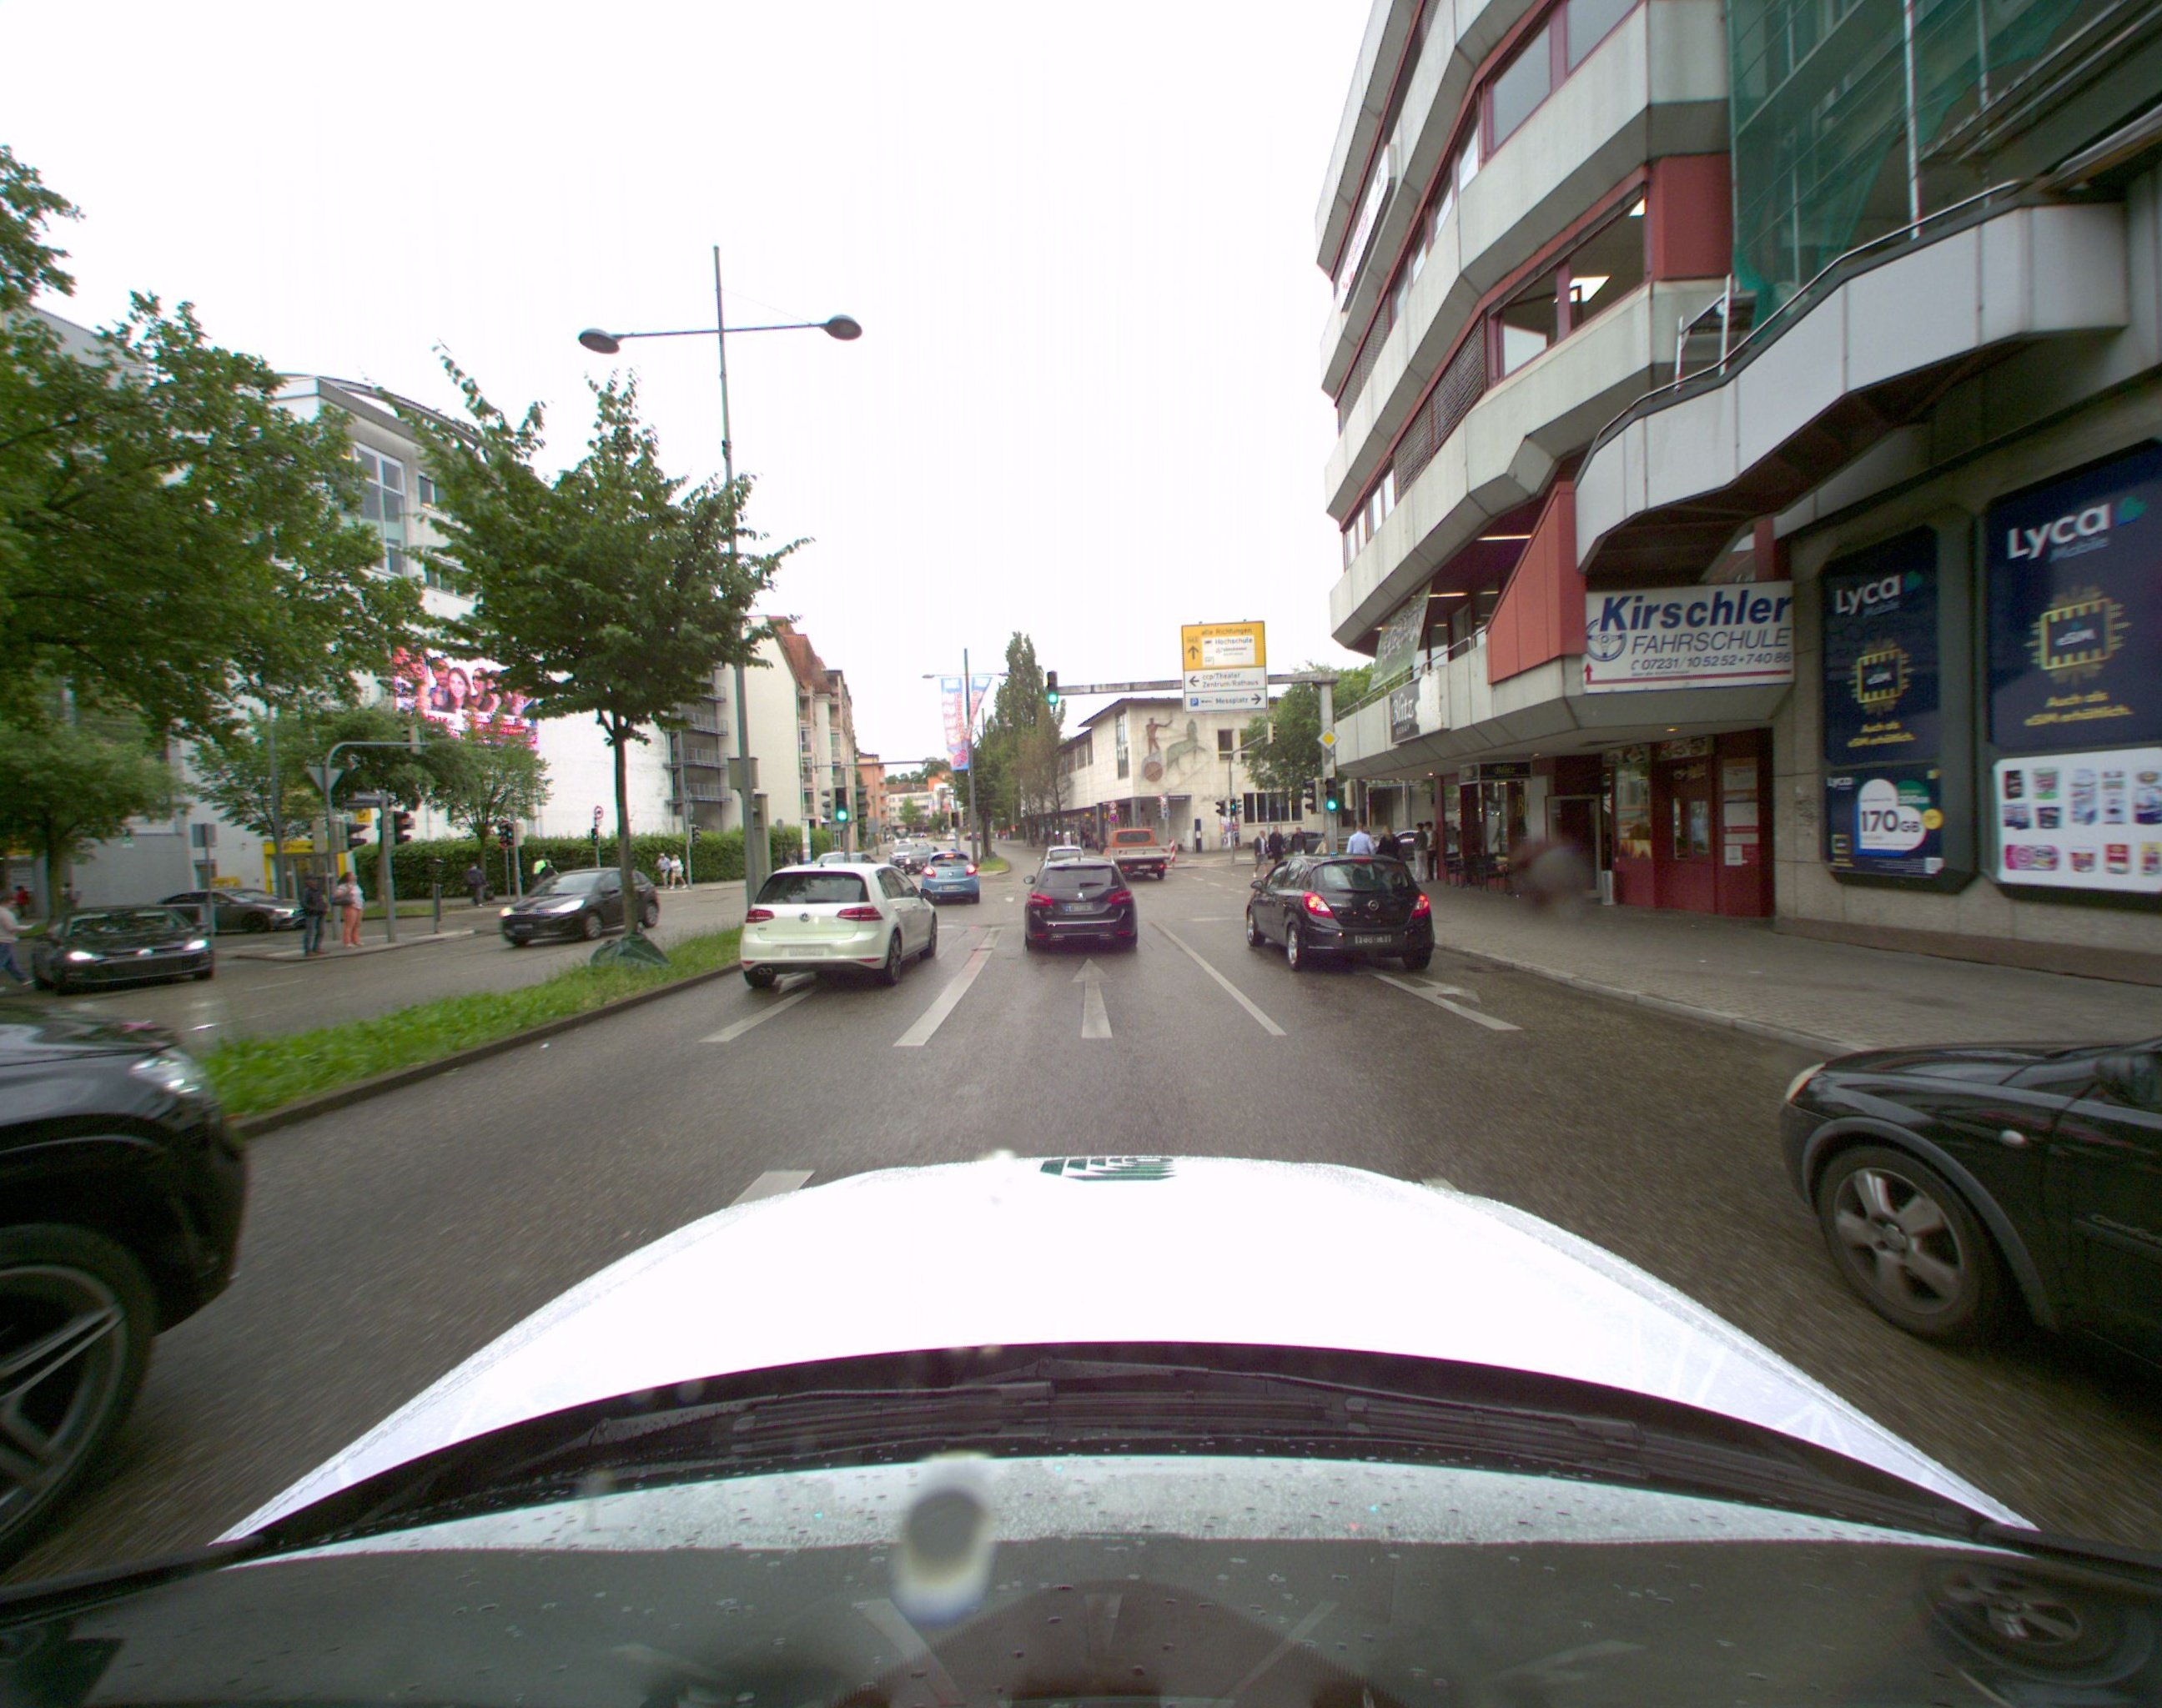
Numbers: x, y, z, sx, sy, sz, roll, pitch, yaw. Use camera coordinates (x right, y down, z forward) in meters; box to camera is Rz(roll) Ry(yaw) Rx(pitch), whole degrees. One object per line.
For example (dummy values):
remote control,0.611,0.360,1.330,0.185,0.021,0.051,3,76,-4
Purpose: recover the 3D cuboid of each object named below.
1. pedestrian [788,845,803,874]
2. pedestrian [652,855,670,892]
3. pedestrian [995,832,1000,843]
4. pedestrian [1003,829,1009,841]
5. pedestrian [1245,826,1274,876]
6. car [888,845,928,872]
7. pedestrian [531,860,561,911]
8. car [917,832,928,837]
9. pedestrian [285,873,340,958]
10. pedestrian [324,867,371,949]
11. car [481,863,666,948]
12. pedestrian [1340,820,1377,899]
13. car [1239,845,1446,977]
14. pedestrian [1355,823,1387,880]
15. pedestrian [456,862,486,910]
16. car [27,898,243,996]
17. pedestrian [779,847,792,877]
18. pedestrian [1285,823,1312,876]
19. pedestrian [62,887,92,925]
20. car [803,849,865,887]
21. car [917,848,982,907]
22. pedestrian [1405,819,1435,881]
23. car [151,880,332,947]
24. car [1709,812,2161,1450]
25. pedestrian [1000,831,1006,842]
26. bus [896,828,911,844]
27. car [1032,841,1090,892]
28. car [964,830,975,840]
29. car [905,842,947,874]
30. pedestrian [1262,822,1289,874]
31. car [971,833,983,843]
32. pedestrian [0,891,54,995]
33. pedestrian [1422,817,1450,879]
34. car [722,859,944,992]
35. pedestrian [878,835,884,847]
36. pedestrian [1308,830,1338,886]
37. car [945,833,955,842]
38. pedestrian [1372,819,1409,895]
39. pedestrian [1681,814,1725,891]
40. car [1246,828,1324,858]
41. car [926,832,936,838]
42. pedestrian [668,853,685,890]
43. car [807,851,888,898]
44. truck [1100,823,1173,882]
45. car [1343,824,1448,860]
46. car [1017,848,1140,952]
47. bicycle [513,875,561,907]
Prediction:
pedestrian,-17.378,0.346,49.525,0.640,1.764,0.591,-2,-2,-4
pedestrian,-20.241,0.951,39.258,0.525,1.764,0.592,0,1,-2
pedestrian,-13.065,-2.623,127.500,0.718,1.619,0.766,-4,2,-13
pedestrian,-11.248,-2.863,121.571,0.654,1.766,0.919,-4,2,-13
pedestrian,6.521,-0.117,29.714,0.747,1.779,0.887,-3,0,-4
car,-11.824,0.273,55.915,1.822,1.736,4.309,-3,1,-1
pedestrian,-19.069,1.118,29.011,0.646,1.764,0.591,-2,-2,-5
car,-48.717,-5.941,250.272,1.657,1.564,3.559,1,-1,-37
pedestrian,-16.824,1.327,17.839,0.410,1.763,0.676,-3,3,-2
pedestrian,-16.989,1.228,18.878,0.446,1.837,0.675,-3,-1,-5
car,-11.145,1.056,18.245,1.613,1.491,3.878,-5,1,0
pedestrian,6.691,0.123,19.666,0.619,1.847,0.849,-2,-1,6
car,3.444,0.651,11.447,1.702,1.457,3.742,-1,2,0
pedestrian,8.983,-0.087,25.266,0.586,1.706,0.971,-4,1,2
pedestrian,-23.127,1.202,30.880,0.645,1.781,0.799,-4,-2,45
car,-17.585,1.651,15.098,4.369,1.396,1.946,-3,1,32
pedestrian,-17.326,0.481,47.748,0.525,1.764,0.630,-2,-2,-4
pedestrian,8.125,-0.168,30.392,0.730,1.895,0.676,-3,0,-1
pedestrian,-44.026,2.292,35.704,0.554,1.600,0.529,-3,1,5
car,-11.483,0.626,38.049,1.667,1.515,3.643,-4,1,0
car,-3.933,0.636,24.309,1.695,1.474,3.679,-3,1,-9
pedestrian,9.712,-0.109,23.357,0.593,1.763,0.493,-2,-1,0
car,-26.435,1.832,25.752,3.589,1.695,1.632,-4,2,-9
car,3.258,0.647,1.422,1.586,1.440,3.629,-2,2,1
pedestrian,-12.273,-2.747,127.687,0.726,1.589,0.604,-4,2,-13
bus,-39.106,-3.941,178.971,2.748,3.074,12.181,-3,3,-14
car,-0.732,0.374,27.787,1.791,1.483,3.996,-3,2,-3
car,-19.784,-3.351,144.245,1.646,1.564,3.585,0,-1,-12
car,-8.397,0.186,44.296,1.618,1.555,3.657,-3,2,-2
pedestrian,7.279,-0.235,30.527,0.756,1.901,0.790,-3,0,0
car,-16.588,-2.546,129.536,1.646,1.564,3.585,0,-1,-12
pedestrian,-20.581,1.705,15.690,0.816,1.906,0.866,-3,-2,30
pedestrian,10.280,-0.177,23.598,0.524,1.763,0.511,-2,-1,0
car,-3.071,0.801,10.987,1.759,1.409,3.999,0,0,0
pedestrian,-28.634,-1.871,116.381,0.698,1.793,0.955,-2,1,-9
pedestrian,7.526,0.106,25.377,0.572,1.663,0.941,-4,1,2
car,-24.992,-3.128,155.614,1.646,1.564,3.585,0,-1,-12
pedestrian,7.418,0.075,19.532,0.619,1.773,0.678,-2,-1,6
pedestrian,12.247,-0.024,16.041,0.461,1.487,0.503,-3,-1,-39
car,10.866,-0.578,43.590,3.961,1.476,2.007,-1,1,11
car,-46.909,-5.845,254.201,1.657,1.564,3.559,1,-1,-37
pedestrian,-19.574,0.830,39.412,0.525,1.764,0.592,0,0,-2
car,-8.415,0.690,29.704,1.708,1.478,3.956,-5,0,-1
truck,2.060,-0.104,31.901,2.118,2.025,4.708,-3,1,-4
car,14.439,-0.561,37.448,4.264,1.419,1.780,-3,2,-13
car,0.041,0.665,14.038,1.788,1.483,4.002,-1,1,2
bicycle,-21.985,1.481,32.937,0.649,1.110,2.054,-3,2,-5
